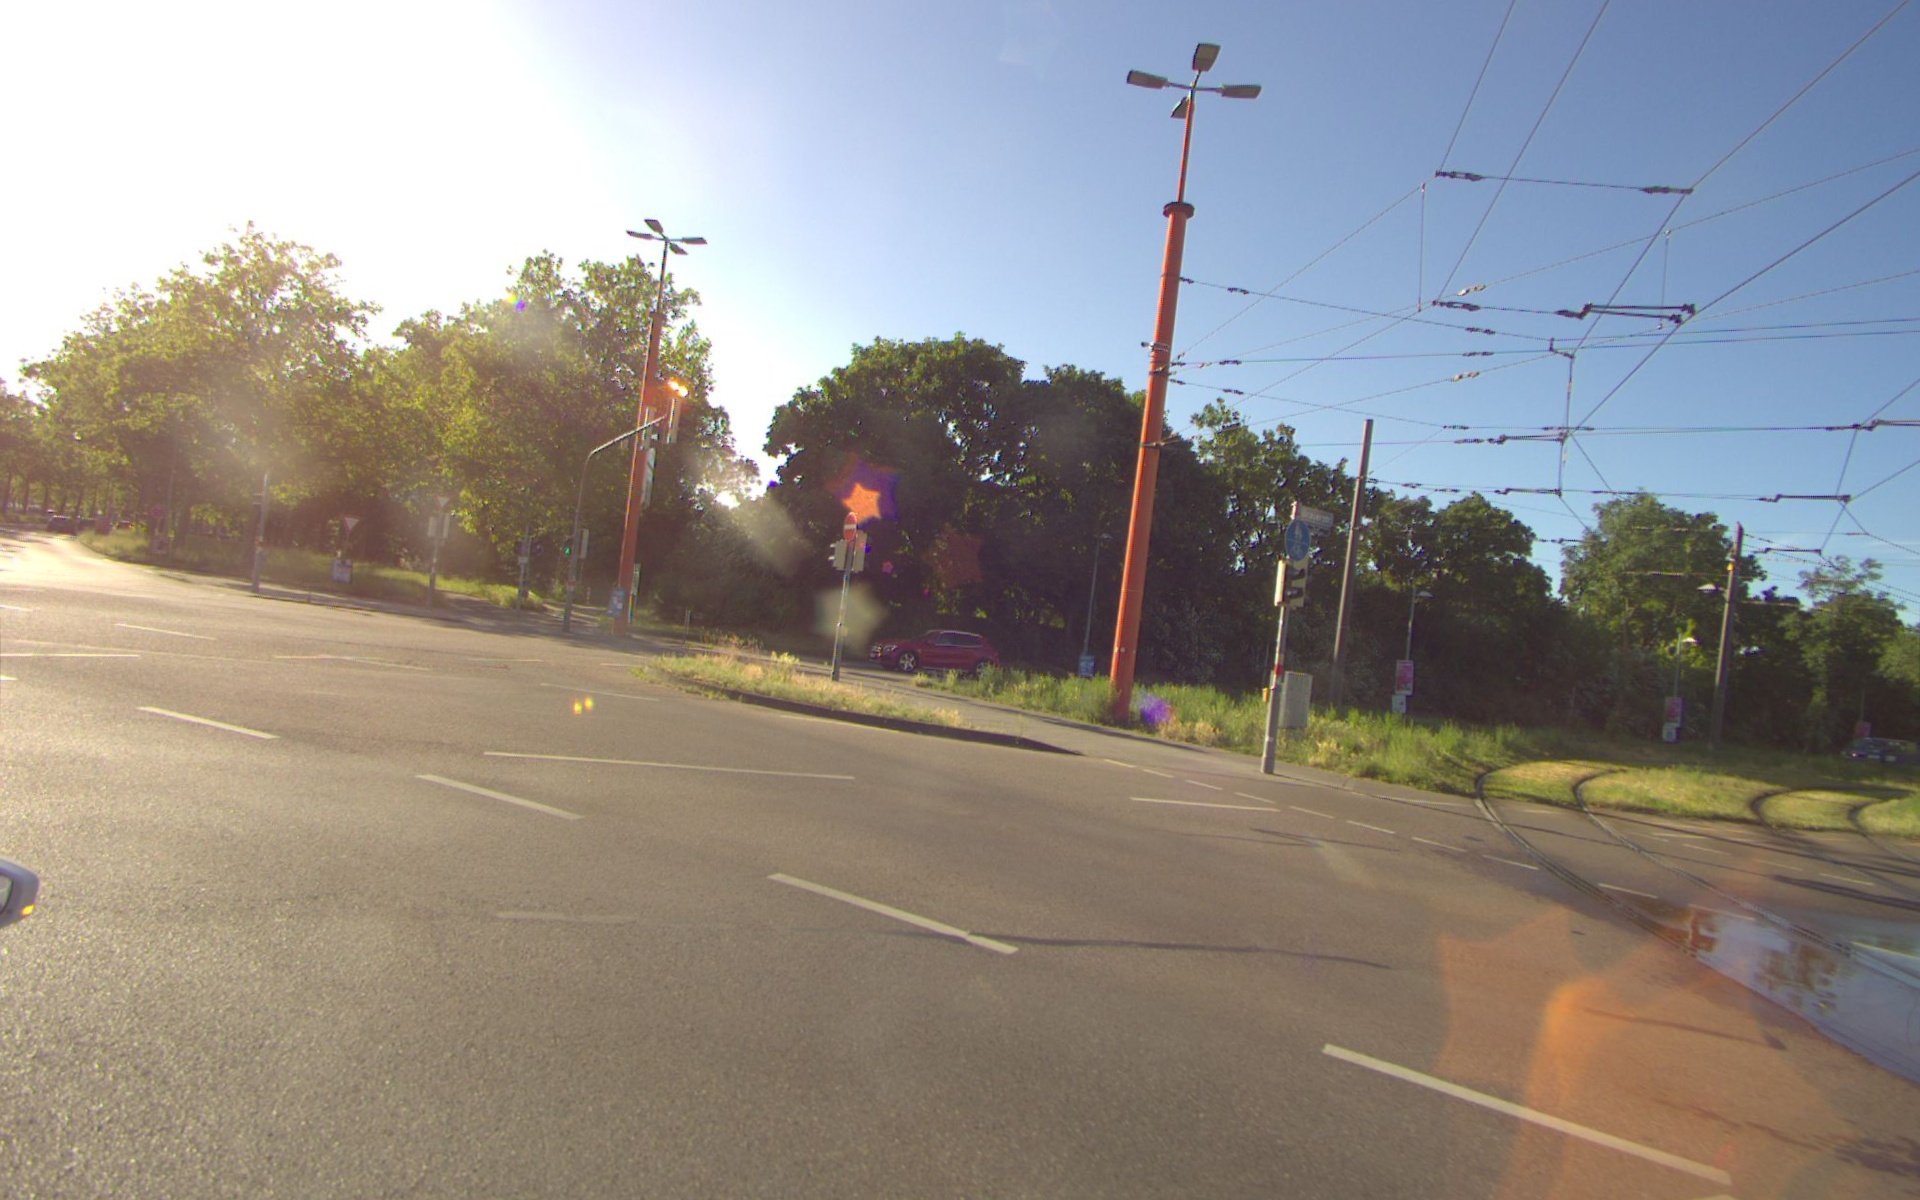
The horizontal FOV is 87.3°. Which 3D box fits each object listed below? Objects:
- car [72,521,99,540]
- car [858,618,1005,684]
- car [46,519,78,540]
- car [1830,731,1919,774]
[{"bbox_3d":[-95.407,-7.591,109.769,1.869,1.645,3.952,10,-4,-44],"label":"car"},{"bbox_3d":[-0.925,1.661,32.821,4.236,1.512,1.989,8,-1,-24],"label":"car"},{"bbox_3d":[-75.594,-5.938,84.656,1.786,1.403,4.000,10,-3,-43],"label":"car"},{"bbox_3d":[51.509,8.581,56.561,4.758,1.752,1.989,8,-1,-24],"label":"car"}]
